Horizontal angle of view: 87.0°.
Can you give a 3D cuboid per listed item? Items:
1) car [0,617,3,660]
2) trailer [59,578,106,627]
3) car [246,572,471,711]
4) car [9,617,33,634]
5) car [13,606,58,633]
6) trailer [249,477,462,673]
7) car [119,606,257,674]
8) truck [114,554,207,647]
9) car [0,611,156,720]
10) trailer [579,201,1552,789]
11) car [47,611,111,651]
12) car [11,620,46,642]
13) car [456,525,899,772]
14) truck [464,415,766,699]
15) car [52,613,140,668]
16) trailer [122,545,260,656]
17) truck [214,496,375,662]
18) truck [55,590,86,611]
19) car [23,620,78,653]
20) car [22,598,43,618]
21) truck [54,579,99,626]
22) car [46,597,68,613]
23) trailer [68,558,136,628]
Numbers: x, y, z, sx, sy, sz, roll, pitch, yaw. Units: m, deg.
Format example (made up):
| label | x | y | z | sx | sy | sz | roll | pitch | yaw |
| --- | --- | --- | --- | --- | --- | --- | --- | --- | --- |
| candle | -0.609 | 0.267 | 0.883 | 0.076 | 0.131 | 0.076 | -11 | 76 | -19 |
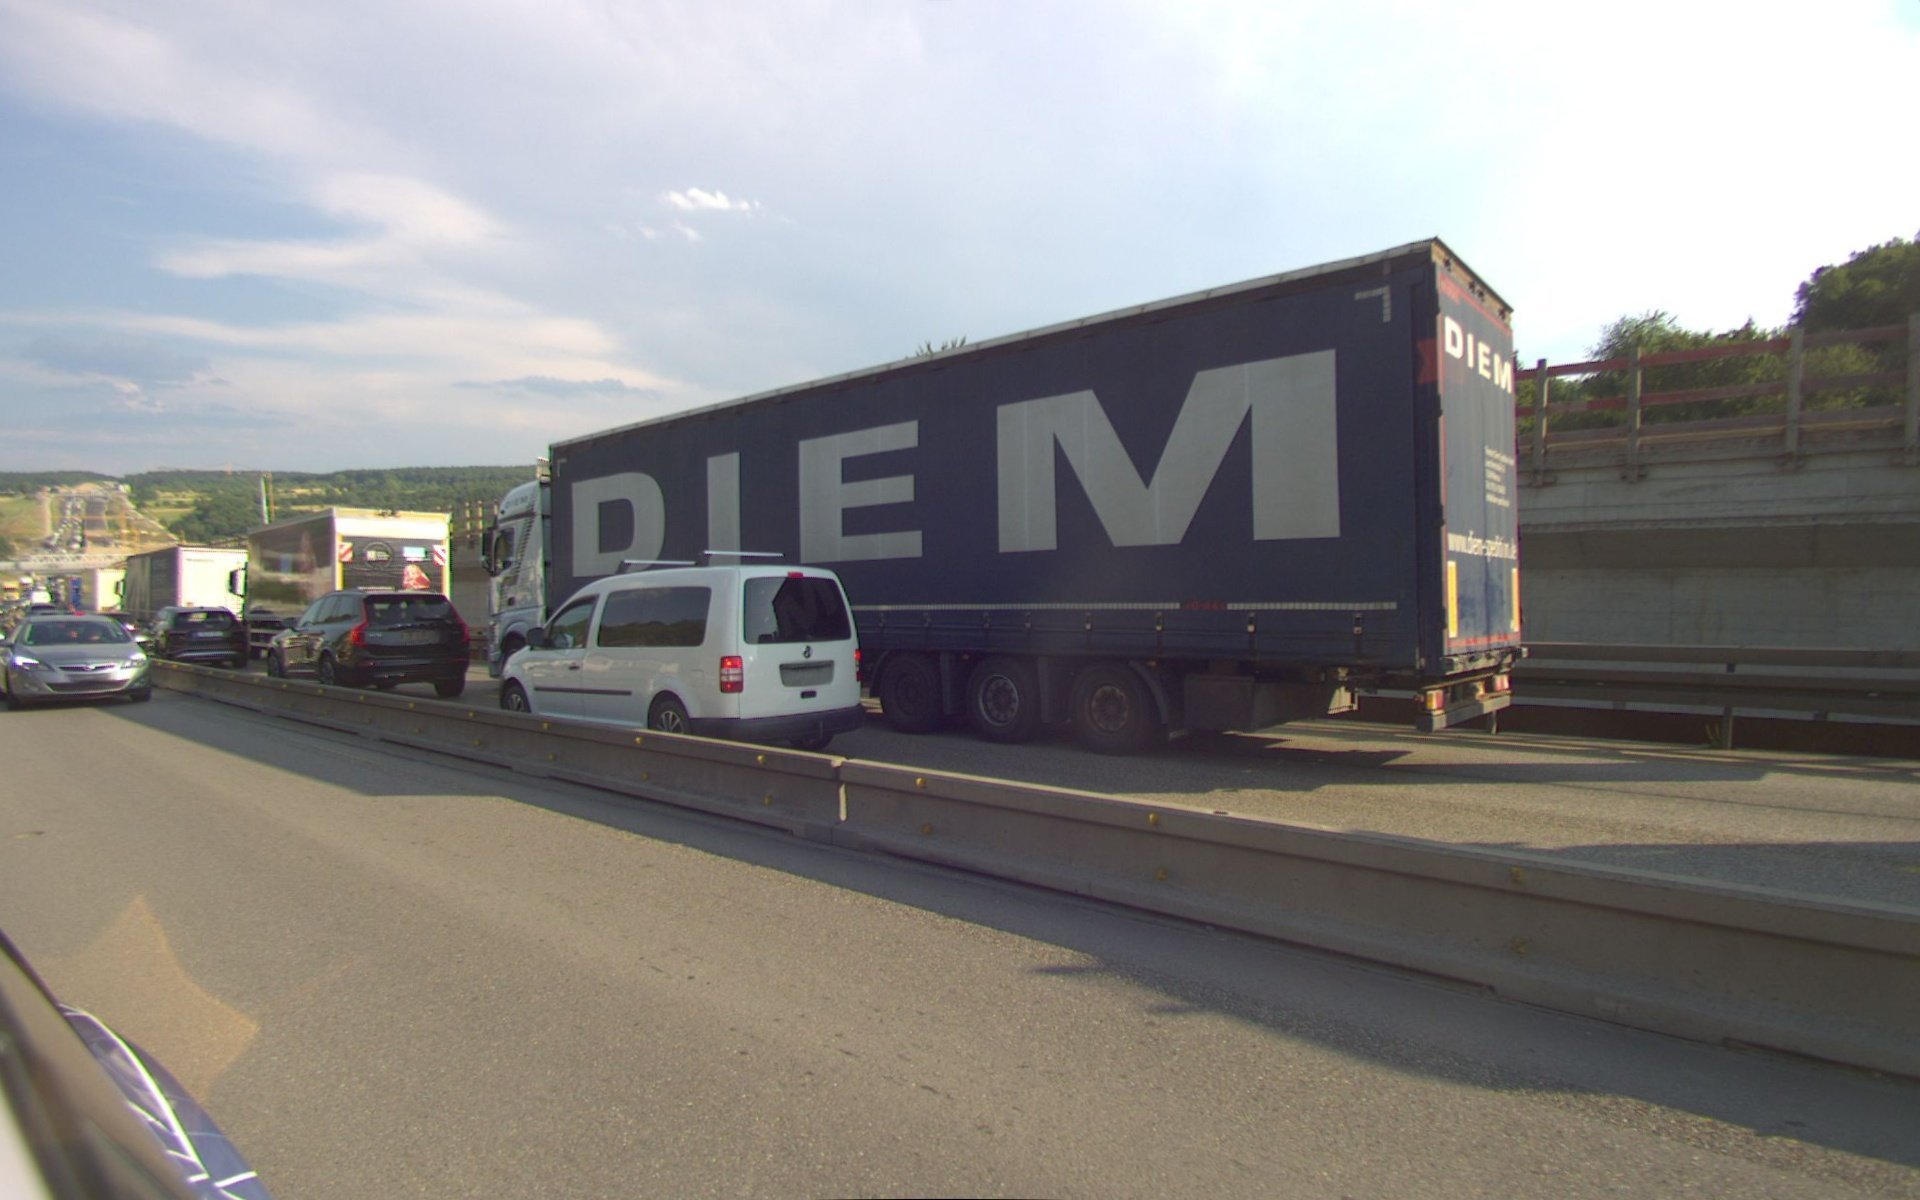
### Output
| label | x | y | z | sx | sy | sz | roll | pitch | yaw |
| --- | --- | --- | --- | --- | --- | --- | --- | --- | --- |
| car | -34.265 | 1.344 | 34.685 | 3.999 | 1.452 | 1.799 | -1 | 1 | 42 |
| trailer | -78.314 | 0.230 | 90.227 | 2.782 | 4.136 | 8.294 | 0 | 0 | -44 |
| car | -10.069 | 0.576 | 16.756 | 4.898 | 1.978 | 1.814 | 0 | 0 | 42 |
| car | -93.330 | 2.476 | 100.568 | 1.679 | 1.588 | 4.373 | 0 | 0 | -44 |
| car | -64.595 | 1.316 | 70.671 | 4.976 | 1.667 | 1.986 | 0 | 3 | 44 |
| trailer | -16.070 | -0.581 | 26.656 | 7.152 | 4.499 | 2.880 | 0 | 1 | 43 |
| car | -20.321 | 0.987 | 26.544 | 5.367 | 1.618 | 1.857 | 0 | -2 | 42 |
| truck | -38.769 | 0.011 | 48.985 | 6.116 | 4.235 | 2.733 | 0 | 0 | 44 |
| car | -14.807 | 0.965 | 16.670 | 4.118 | 1.498 | 1.786 | 0 | 1 | 42 |
| trailer | -0.206 | -0.677 | 12.286 | 12.486 | 4.154 | 2.686 | -1 | -1 | 41 |
| car | -39.532 | 1.363 | 45.389 | 4.480 | 1.562 | 1.747 | 1 | 2 | 44 |
| car | -77.916 | 2.573 | 84.612 | 4.733 | 1.618 | 1.859 | 0 | 3 | 44 |
| car | -3.105 | 0.416 | 10.368 | 5.127 | 1.948 | 1.804 | 0 | -2 | 41 |
| truck | -6.027 | -0.587 | 17.429 | 5.027 | 4.146 | 2.721 | -1 | -1 | 40 |
| car | -30.842 | 1.379 | 36.087 | 4.747 | 1.598 | 1.842 | 1 | 4 | 43 |
| trailer | -33.932 | 0.013 | 44.308 | 13.837 | 4.235 | 2.745 | 0 | 0 | 44 |
| truck | -20.026 | -0.576 | 30.378 | 5.027 | 4.548 | 2.888 | 0 | 0 | 43 |
| truck | -136.253 | 0.063 | 154.973 | 3.197 | 3.169 | 6.494 | 0 | 0 | -44 |
| car | -48.286 | 1.880 | 53.709 | 4.816 | 1.467 | 1.755 | 1 | 2 | 43 |
| car | -125.013 | 1.025 | 136.348 | 1.972 | 2.636 | 5.619 | 1 | -1 | -43 |
| truck | -84.788 | 0.218 | 97.071 | 2.783 | 4.290 | 10.590 | 0 | 0 | -44 |
| car | -129.075 | 0.678 | 144.633 | 2.183 | 2.037 | 3.977 | -5 | 3 | -42 |
| trailer | -58.321 | -0.436 | 68.637 | 2.427 | 4.352 | 13.783 | 0 | 0 | -45 |
